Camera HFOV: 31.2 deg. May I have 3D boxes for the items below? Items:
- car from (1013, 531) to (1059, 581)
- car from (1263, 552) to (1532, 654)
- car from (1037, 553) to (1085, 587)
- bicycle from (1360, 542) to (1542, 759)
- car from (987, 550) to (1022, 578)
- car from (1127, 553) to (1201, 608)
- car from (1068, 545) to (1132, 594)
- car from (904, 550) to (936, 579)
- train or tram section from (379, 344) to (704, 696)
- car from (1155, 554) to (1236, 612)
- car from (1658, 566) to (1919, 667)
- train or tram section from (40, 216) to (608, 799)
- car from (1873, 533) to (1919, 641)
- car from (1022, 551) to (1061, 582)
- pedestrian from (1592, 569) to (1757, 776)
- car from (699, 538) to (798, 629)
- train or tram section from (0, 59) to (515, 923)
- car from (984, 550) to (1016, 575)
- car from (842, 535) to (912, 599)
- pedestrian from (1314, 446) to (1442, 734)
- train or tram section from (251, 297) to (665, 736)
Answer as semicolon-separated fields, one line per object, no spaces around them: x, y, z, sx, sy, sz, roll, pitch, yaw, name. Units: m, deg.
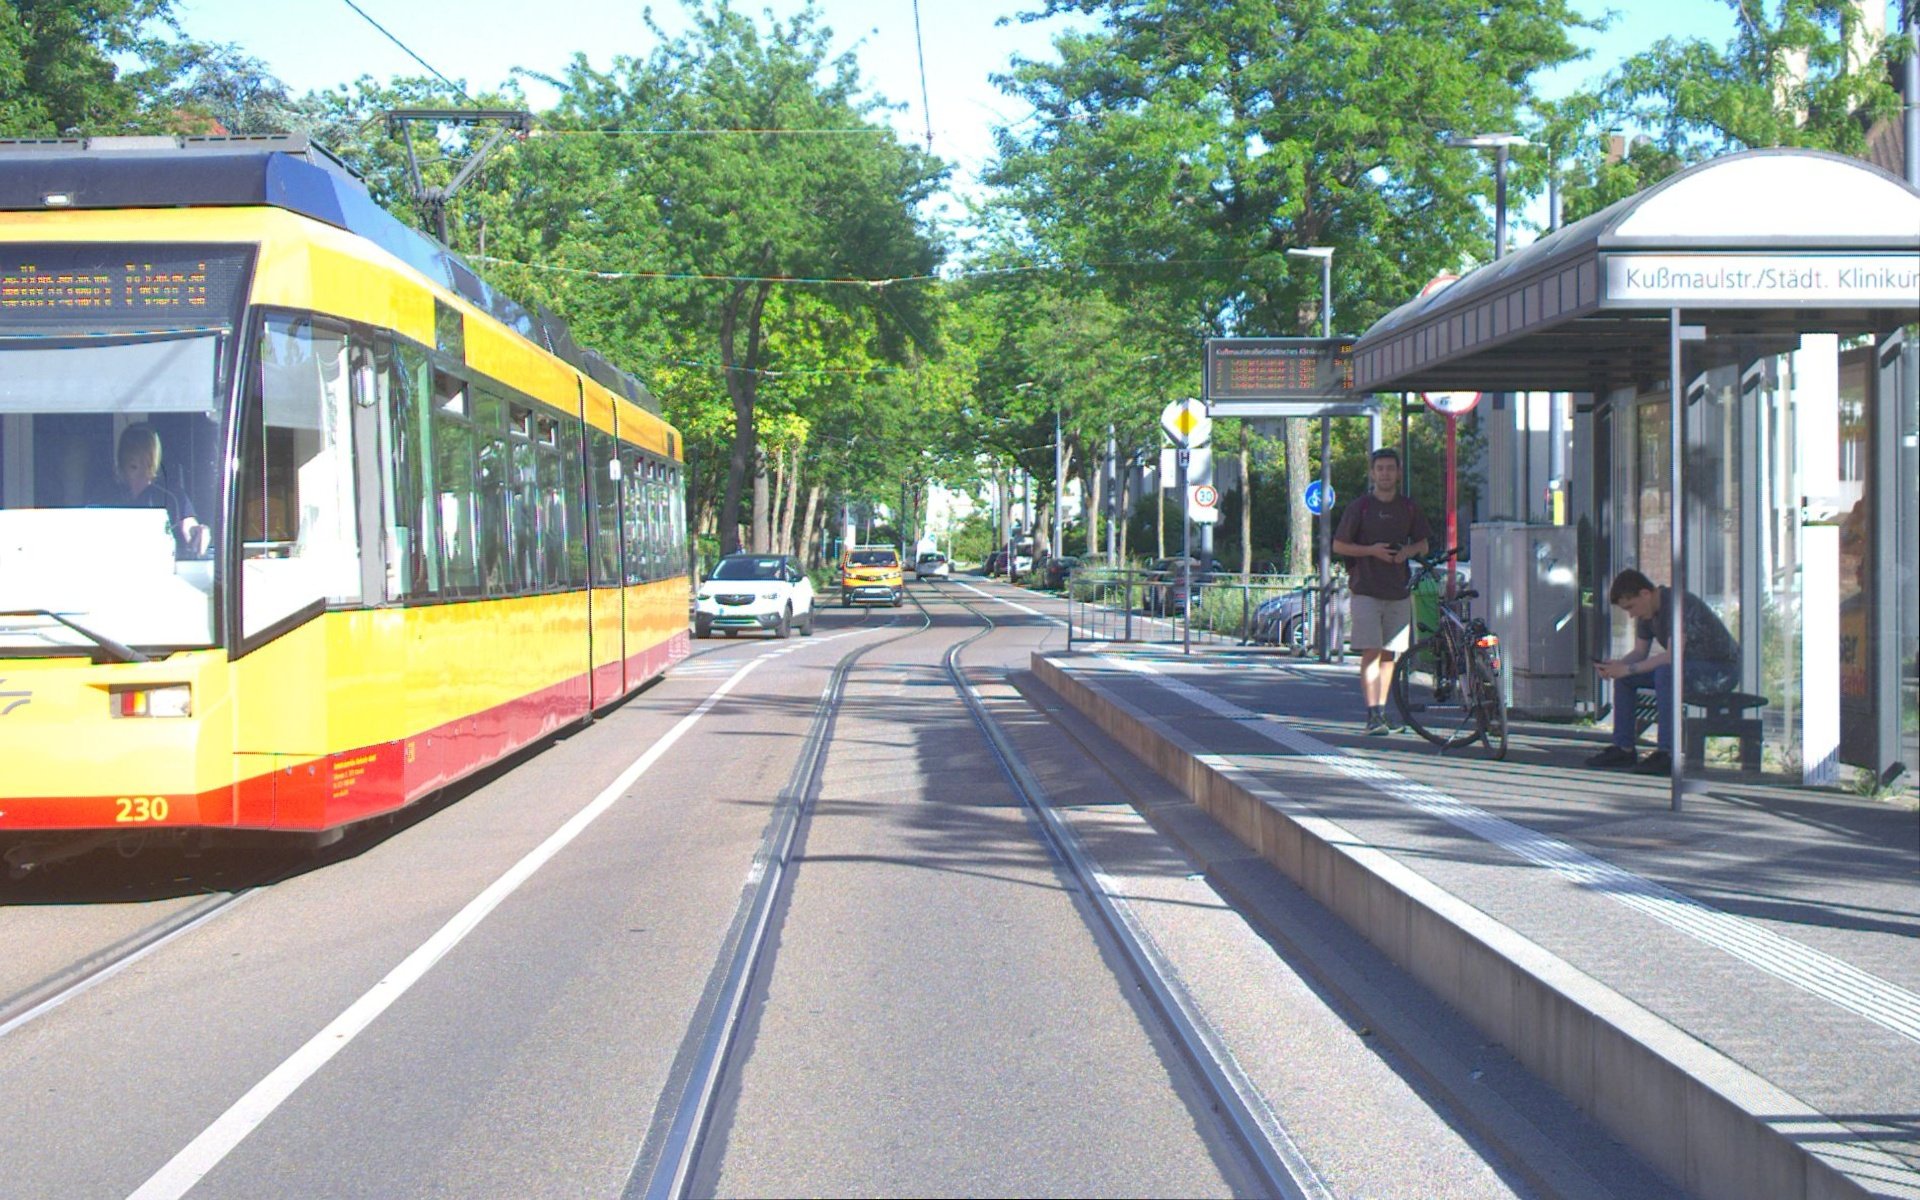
4.143;-2.404;187.672;2.245;2.645;5.586;0;1;-1;car
6.699;0.024;52.520;3.988;1.503;1.981;0;1;9;car
4.592;-1.380;156.532;1.784;1.443;4.301;-3;1;-3;car
2.894;0.274;20.434;0.619;1.225;1.967;1;1;-5;bicycle
2.831;-2.320;219.663;2.003;1.669;4.392;-2;1;-1;car
5.745;-0.562;97.237;1.748;1.490;3.997;-1;1;-1;car
5.291;-1.161;130.152;1.993;1.698;4.478;-3;1;-2;car
-2.340;-2.097;201.063;1.866;1.669;4.173;-1;1;-1;car
-4.366;-0.839;37.177;2.803;3.448;6.669;0;1;-1;train or tram section
6.248;-0.467;91.630;1.748;1.490;4.444;-1;1;-1;car
12.727;0.252;50.921;4.606;1.461;1.981;0;-1;13;car
-4.123;-0.602;23.783;2.803;3.448;6.669;0;1;-1;train or tram section
16.509;-0.194;53.271;4.162;1.636;1.982;0;1;-3;car
3.931;-1.643;166.385;1.627;1.393;3.646;-3;1;-1;car
3.964;0.393;19.116;0.738;1.113;0.658;1;1;-2;pedestrian
-3.967;-0.329;64.947;1.764;1.658;4.210;0;1;-2;car
-3.993;-0.492;17.079;2.803;3.448;6.669;0;1;-1;train or tram section
2.775;-2.586;237.415;2.003;1.669;4.392;-2;1;3;car
-2.627;-1.045;107.842;1.993;1.959;4.935;0;1;-4;car
2.742;-0.072;22.605;0.711;1.847;0.729;1;1;1;pedestrian
-4.251;-0.712;30.480;2.803;3.448;6.669;0;1;-1;train or tram section
